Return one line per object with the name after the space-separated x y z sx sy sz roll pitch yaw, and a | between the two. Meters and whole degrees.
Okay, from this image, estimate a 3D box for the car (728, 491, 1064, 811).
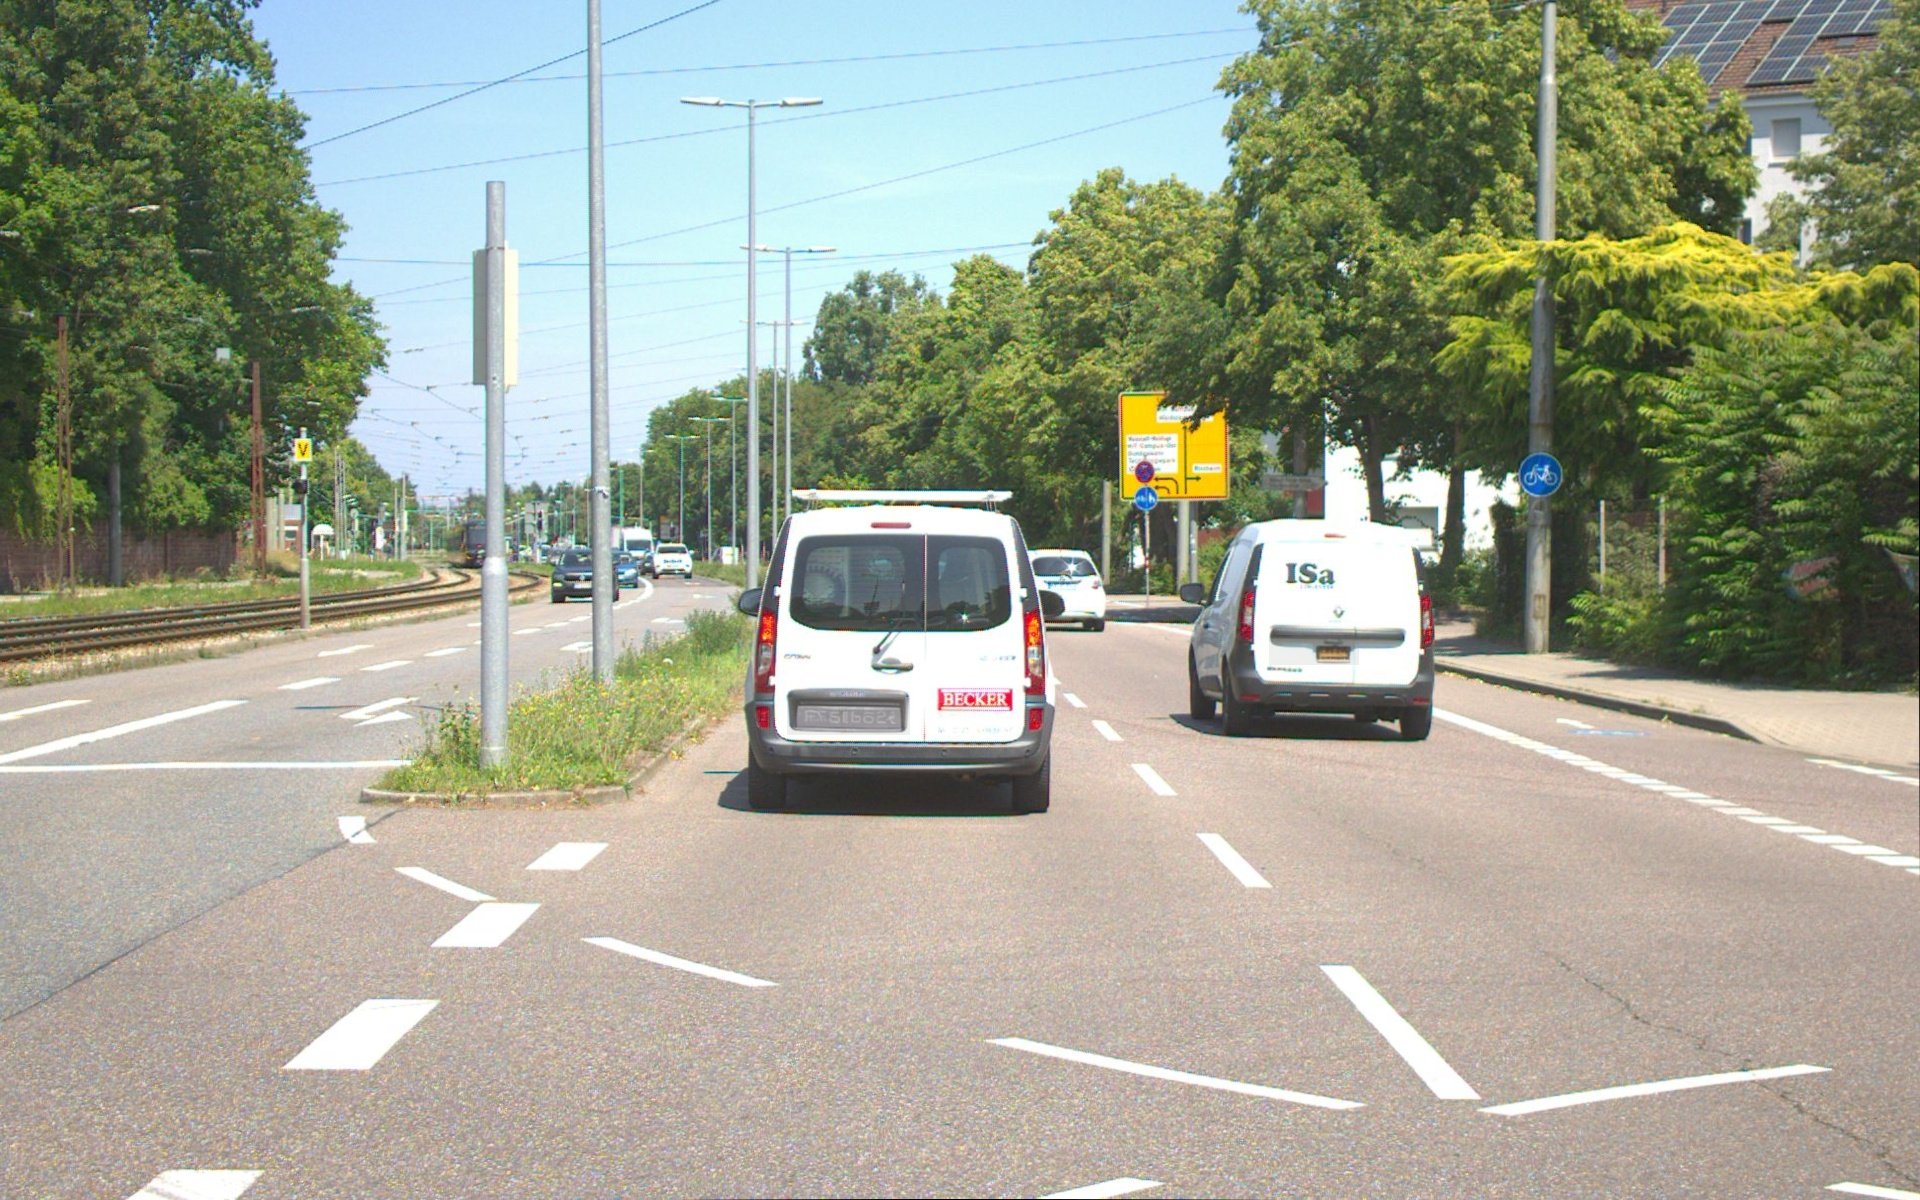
-0.363 0.243 21.282 1.821 1.733 4.396 2 1 0 | car

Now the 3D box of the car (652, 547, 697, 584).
-14.345 -1.758 172.756 1.993 1.809 4.000 0 1 -1 | car

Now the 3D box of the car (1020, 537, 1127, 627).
2.112 -0.374 64.982 1.835 1.563 4.000 2 1 0 | car

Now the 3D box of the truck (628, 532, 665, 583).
-19.981 -2.756 219.400 1.993 3.202 5.312 0 1 -1 | truck

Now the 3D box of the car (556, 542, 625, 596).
-10.573 -0.906 98.528 1.697 1.507 4.066 0 1 -2 | car

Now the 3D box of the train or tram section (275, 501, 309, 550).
-50.060 -5.542 257.783 1.993 3.511 16.172 2 1 -10 | train or tram section

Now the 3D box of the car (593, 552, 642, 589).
-13.397 -1.171 134.621 1.697 1.434 4.001 0 1 -3 | car

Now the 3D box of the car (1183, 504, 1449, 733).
2.983 0.122 29.561 1.727 1.782 4.065 2 1 -1 | car

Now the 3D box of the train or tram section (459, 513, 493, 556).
-36.480 -4.875 258.775 1.993 3.076 16.172 2 1 -10 | train or tram section
